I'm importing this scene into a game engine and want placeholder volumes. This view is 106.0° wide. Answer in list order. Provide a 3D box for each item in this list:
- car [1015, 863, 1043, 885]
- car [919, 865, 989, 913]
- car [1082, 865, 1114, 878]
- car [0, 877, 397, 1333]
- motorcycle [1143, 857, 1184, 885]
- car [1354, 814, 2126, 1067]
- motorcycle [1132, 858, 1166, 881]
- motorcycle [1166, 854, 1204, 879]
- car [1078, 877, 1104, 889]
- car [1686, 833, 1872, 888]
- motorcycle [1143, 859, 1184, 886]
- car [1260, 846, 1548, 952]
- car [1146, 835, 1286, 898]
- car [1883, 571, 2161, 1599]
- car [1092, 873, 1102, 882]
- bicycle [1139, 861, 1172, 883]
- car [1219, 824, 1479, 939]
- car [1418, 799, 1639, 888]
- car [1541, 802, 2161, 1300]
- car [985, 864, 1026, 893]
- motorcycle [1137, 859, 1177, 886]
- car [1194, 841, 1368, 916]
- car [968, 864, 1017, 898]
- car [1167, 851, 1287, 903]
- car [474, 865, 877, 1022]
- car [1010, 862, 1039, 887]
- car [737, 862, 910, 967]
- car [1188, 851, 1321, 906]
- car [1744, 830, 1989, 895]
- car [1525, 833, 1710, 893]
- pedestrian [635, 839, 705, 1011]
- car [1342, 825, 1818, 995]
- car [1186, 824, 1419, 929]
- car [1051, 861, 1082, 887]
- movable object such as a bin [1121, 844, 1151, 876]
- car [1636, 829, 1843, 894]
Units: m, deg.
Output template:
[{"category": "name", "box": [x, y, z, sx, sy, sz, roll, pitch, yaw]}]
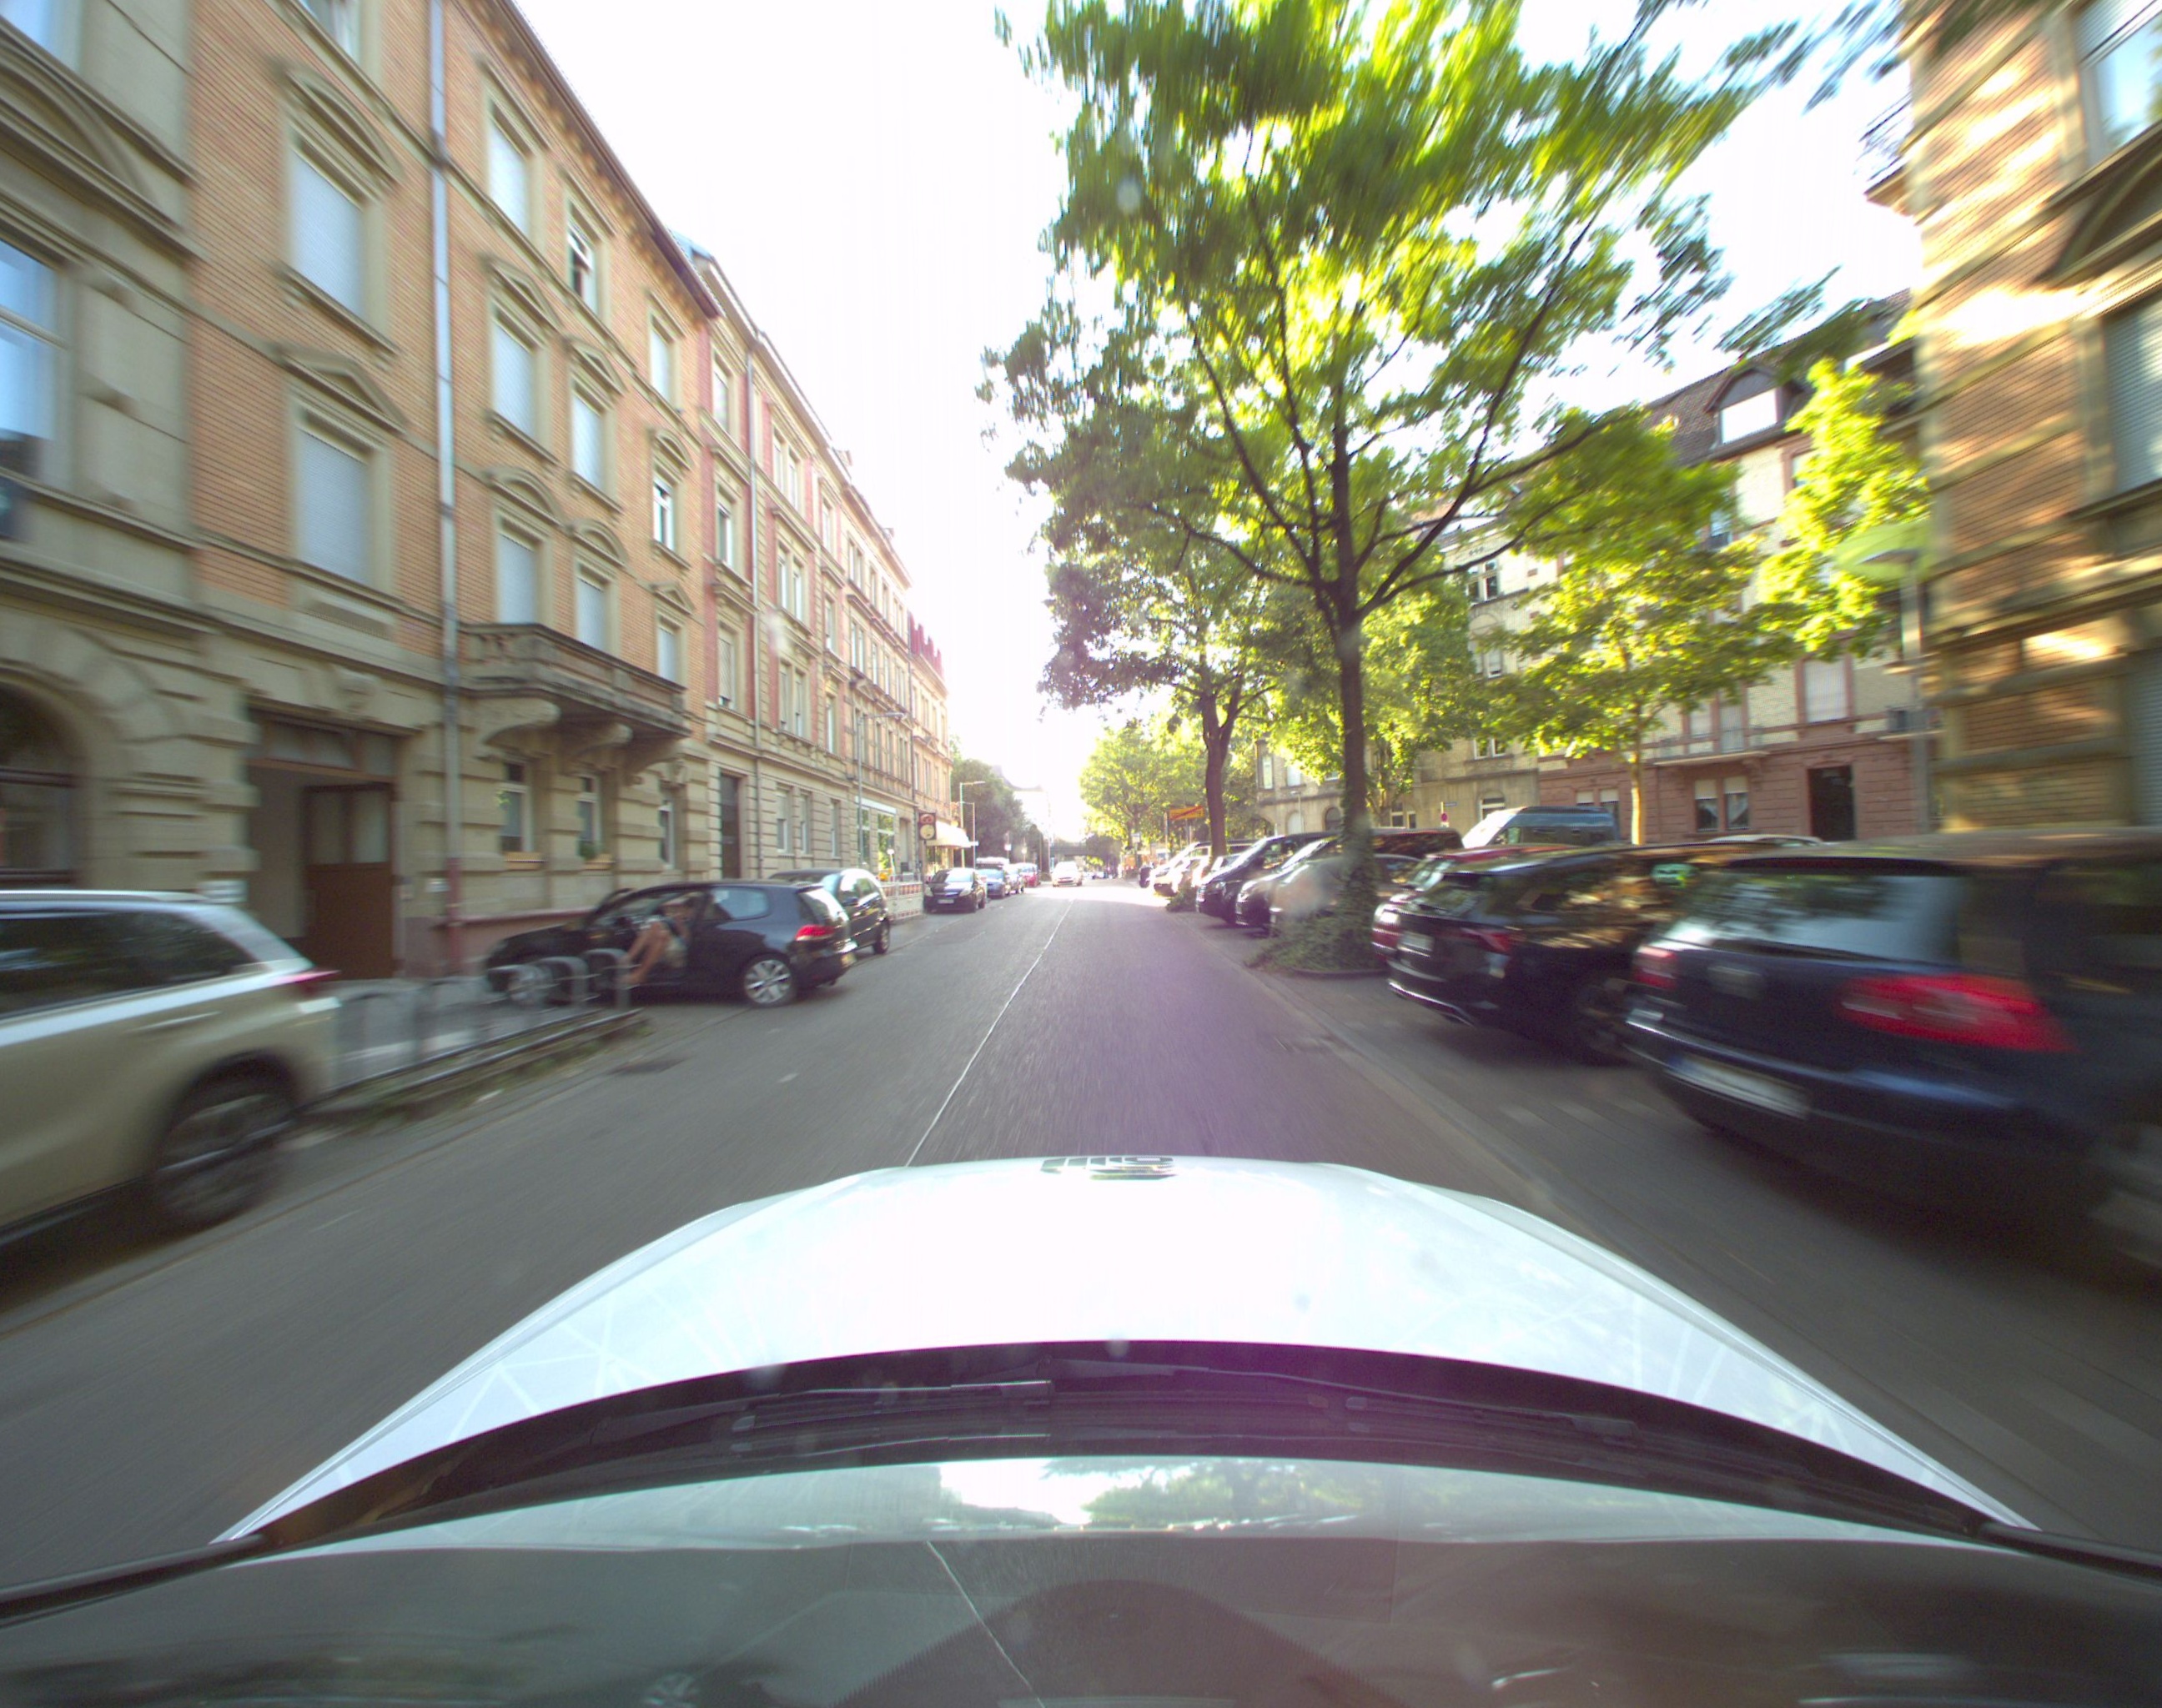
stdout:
[{"category": "car", "box": [-3.691, 1.434, 58.258, 1.663, 1.458, 4.000, -2, -1, 1]}, {"category": "car", "box": [-4.292, 1.137, 28.084, 1.698, 1.454, 4.019, -2, -1, 0]}, {"category": "car", "box": [2.404, 2.545, 115.328, 4.375, 1.702, 1.915, -1, -4, -2]}, {"category": "car", "box": [-4.652, 0.911, 2.592, 1.644, 1.574, 4.044, 0, 0, -3]}, {"category": "motorcycle", "box": [4.397, 0.917, 43.485, 2.016, 1.362, 0.694, -3, -1, 1]}, {"category": "car", "box": [4.623, 0.574, 6.305, 4.354, 1.455, 1.934, -3, -1, 1]}, {"category": "motorcycle", "box": [4.450, 1.026, 53.114, 1.913, 1.412, 0.947, -2, -1, 29]}, {"category": "motorcycle", "box": [6.693, 0.834, 52.465, 2.279, 1.531, 0.754, -2, -1, -5]}, {"category": "car", "box": [1.699, 4.925, 137.631, 4.375, 1.785, 1.915, -1, -4, -2]}, {"category": "car", "box": [22.355, 0.238, 26.224, 1.876, 1.582, 4.197, -2, -1, -36]}, {"category": "motorcycle", "box": [4.287, 0.962, 42.556, 2.010, 1.327, 0.620, -2, -1, -3]}, {"category": "car", "box": [5.078, 0.699, 13.305, 3.967, 1.448, 1.893, -2, -1, 5]}, {"category": "car", "box": [5.045, 0.464, 31.027, 4.956, 2.096, 2.106, -2, -1, 1]}, {"category": "car", "box": [4.545, 0.307, 0.864, 5.074, 1.940, 2.158, -2, -4, 1]}, {"category": "car", "box": [2.989, 4.395, 152.461, 1.769, 1.609, 4.402, -3, -1, 1]}, {"category": "bicycle", "box": [4.526, 1.068, 49.287, 1.921, 1.246, 0.302, -2, -1, -5]}, {"category": "car", "box": [4.987, 0.490, 15.564, 4.258, 1.885, 1.937, -2, -1, -3]}, {"category": "car", "box": [14.347, -0.328, 26.327, 5.885, 2.537, 2.376, -2, -1, -5]}, {"category": "car", "box": [4.555, 0.545, 3.680, 3.983, 1.474, 1.778, -4, 0, -7]}, {"category": "car", "box": [-3.968, 1.267, 43.475, 1.719, 1.437, 3.997, 0, 0, 2]}, {"category": "motorcycle", "box": [4.153, 1.008, 44.465, 2.017, 1.285, 0.903, -4, -1, -1]}, {"category": "car", "box": [5.057, 0.610, 20.981, 3.975, 1.692, 1.799, -2, -1, -1]}, {"category": "car", "box": [-4.096, 1.230, 38.258, 1.759, 1.437, 4.299, -2, -1, 0]}, {"category": "car", "box": [4.981, 0.765, 28.143, 3.827, 1.595, 1.741, -2, -1, 1]}, {"category": "car", "box": [-4.741, 1.004, 10.059, 3.981, 1.529, 1.823, -3, -1, -5]}, {"category": "car", "box": [-3.671, 1.307, 53.807, 1.664, 1.530, 3.998, -2, -1, -1]}, {"category": "car", "box": [-4.476, 0.982, 14.789, 1.735, 1.567, 3.896, -2, 0, 2]}, {"category": "car", "box": [5.443, 0.759, 25.963, 3.827, 1.515, 1.848, -2, -1, 1]}, {"category": "car", "box": [18.263, 0.189, 19.056, 4.046, 1.276, 1.861, -2, -1, -3]}, {"category": "car", "box": [15.639, 0.259, 23.863, 4.289, 1.504, 1.910, -2, -1, -7]}, {"category": "pedestrian", "box": [-4.746, 0.794, 9.447, 0.641, 1.888, 0.587, -2, -1, -25]}, {"category": "car", "box": [5.220, 0.562, 8.975, 4.066, 1.497, 1.844, -3, -1, 1]}, {"category": "car", "box": [4.830, 0.483, 18.266, 4.602, 2.013, 1.999, -2, -1, -2]}, {"category": "car", "box": [-0.844, 1.240, 50.989, 1.743, 1.509, 4.000, -2, -1, 1]}, {"category": "movable object such as a bin", "box": [4.876, 0.508, 71.367, 1.979, 2.699, 3.122, -2, -1, 14]}, {"category": "car", "box": [17.335, 0.186, 21.579, 4.046, 1.510, 1.861, -2, -1, -3]}]
